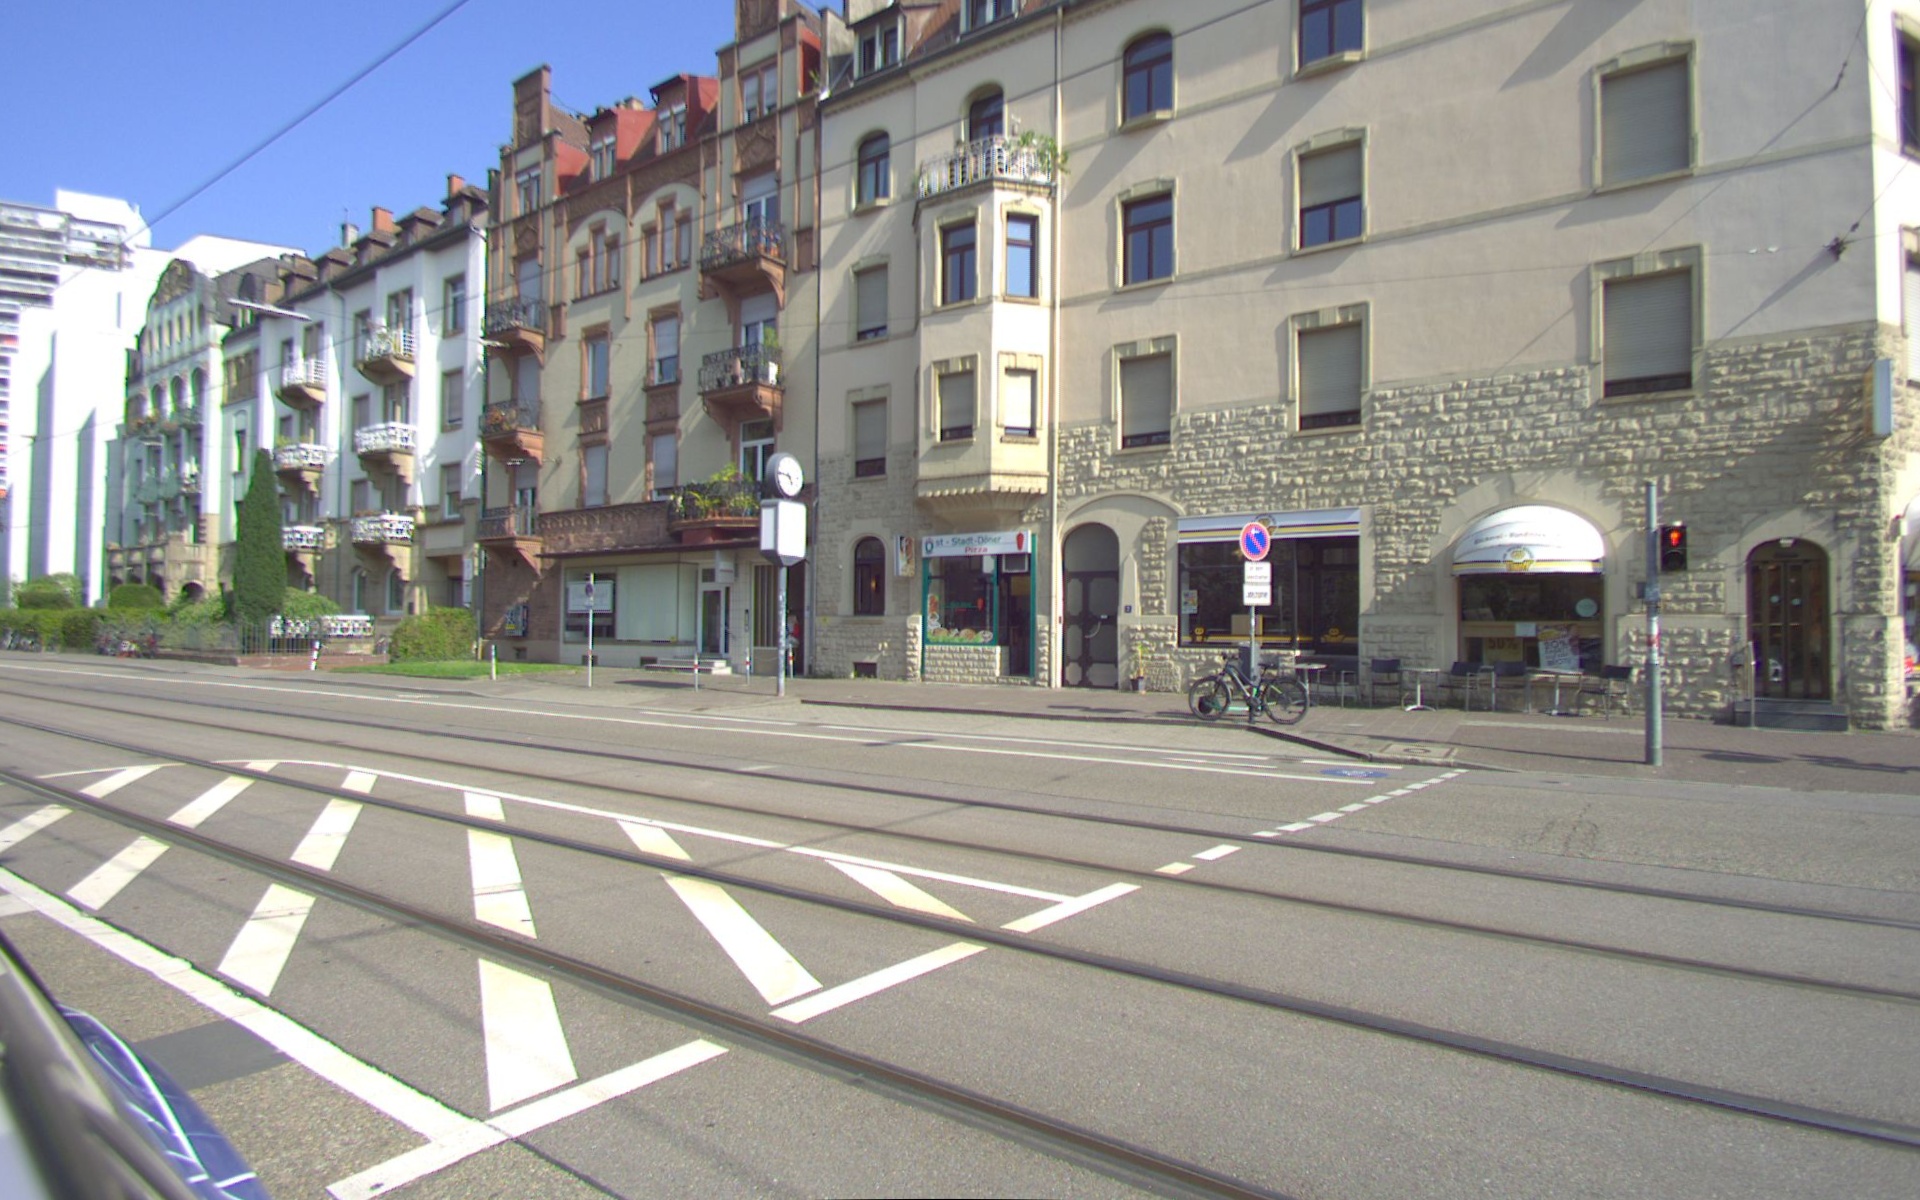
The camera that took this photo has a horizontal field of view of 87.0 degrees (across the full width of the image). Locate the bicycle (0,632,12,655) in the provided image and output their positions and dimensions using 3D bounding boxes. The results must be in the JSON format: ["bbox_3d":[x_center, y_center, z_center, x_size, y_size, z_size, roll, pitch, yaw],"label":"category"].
[{"bbox_3d":[-47.978,2.172,50.720,1.674,1.096,0.420,-1,-3,38],"label":"bicycle"}]

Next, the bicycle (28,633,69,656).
[{"bbox_3d":[-42.902,2.093,47.667,0.422,1.096,1.388,0,-2,17],"label":"bicycle"}]

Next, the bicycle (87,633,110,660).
[{"bbox_3d":[-35.827,1.934,42.101,1.352,1.096,0.367,-1,-3,35],"label":"bicycle"}]

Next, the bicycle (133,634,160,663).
[{"bbox_3d":[-30.800,1.832,38.316,1.484,1.096,0.367,-1,-3,35],"label":"bicycle"}]

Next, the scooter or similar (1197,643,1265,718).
[{"bbox_3d":[4.458,1.323,16.642,1.017,1.206,0.367,1,-2,-10],"label":"scooter or similar"}]

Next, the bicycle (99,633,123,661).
[{"bbox_3d":[-34.423,1.894,41.027,1.352,1.096,0.367,-1,-3,35],"label":"bicycle"}]

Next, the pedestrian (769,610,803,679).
[{"bbox_3d":[-4.776,1.211,27.854,0.765,1.874,0.830,0,-2,1],"label":"pedestrian"}]

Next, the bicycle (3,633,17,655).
[{"bbox_3d":[-46.420,2.140,49.447,1.677,1.096,0.419,-2,-3,45],"label":"bicycle"}]

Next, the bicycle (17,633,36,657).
[{"bbox_3d":[-44.067,2.120,47.751,1.675,1.096,0.420,-1,-3,40],"label":"bicycle"}]

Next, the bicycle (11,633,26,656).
[{"bbox_3d":[-45.679,2.143,49.097,1.677,1.096,0.419,-2,-3,45],"label":"bicycle"}]

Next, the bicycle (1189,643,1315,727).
[{"bbox_3d":[4.560,1.305,15.861,1.847,1.236,0.450,-1,-3,27],"label":"bicycle"}]

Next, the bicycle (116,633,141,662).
[{"bbox_3d":[-32.286,1.850,39.281,1.352,1.096,0.367,-1,-3,35],"label":"bicycle"}]
